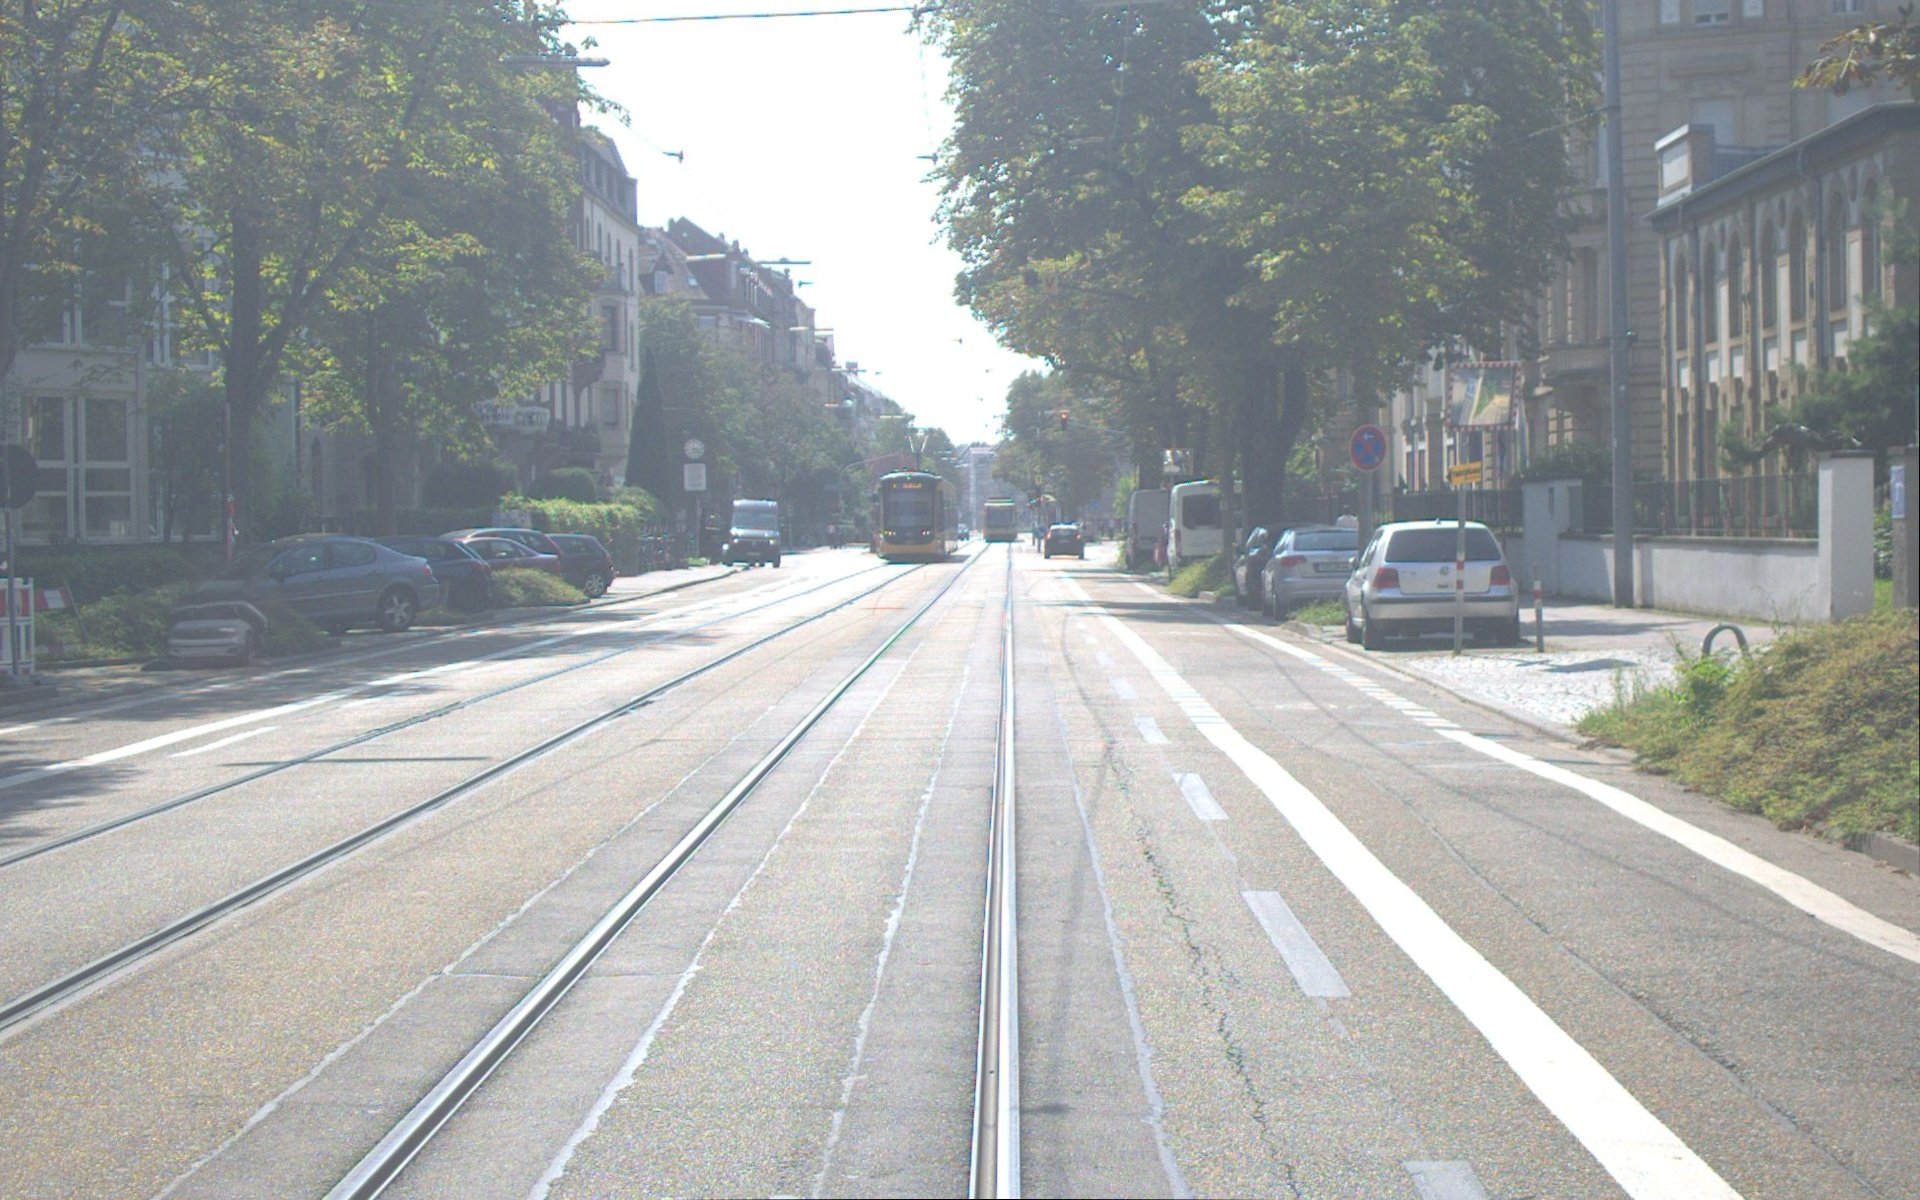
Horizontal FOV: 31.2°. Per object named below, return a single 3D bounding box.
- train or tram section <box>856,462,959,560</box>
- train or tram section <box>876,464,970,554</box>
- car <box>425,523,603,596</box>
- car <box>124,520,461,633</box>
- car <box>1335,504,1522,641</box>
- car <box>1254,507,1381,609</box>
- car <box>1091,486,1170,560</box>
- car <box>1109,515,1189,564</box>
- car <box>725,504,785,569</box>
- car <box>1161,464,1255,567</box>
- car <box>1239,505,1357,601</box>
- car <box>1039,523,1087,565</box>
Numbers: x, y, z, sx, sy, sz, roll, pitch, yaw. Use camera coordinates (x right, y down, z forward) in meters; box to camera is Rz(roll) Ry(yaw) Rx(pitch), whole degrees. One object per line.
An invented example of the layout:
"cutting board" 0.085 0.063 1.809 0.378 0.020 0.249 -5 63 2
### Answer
"train or tram section" -1.968 -3.554 135.719 3.497 3.691 12.412 0 2 2
"train or tram section" -1.515 -3.945 148.093 3.497 3.691 12.412 0 2 2
"car" -9.857 -0.907 76.104 3.576 1.569 1.676 -1 1 -40
"car" -9.690 -0.375 50.194 1.675 1.446 4.677 1 3 44
"car" 5.319 -0.337 39.411 1.791 1.441 3.732 -2 1 3
"car" 5.492 -0.660 53.092 1.641 1.506 3.641 0 1 1
"car" 5.322 -2.417 107.928 1.993 2.226 4.001 -1 1 -4
"car" 5.550 -1.807 101.333 1.993 1.393 4.001 -1 1 -2
"car" -7.785 -2.425 130.902 2.242 2.433 4.001 0 1 -3
"car" 5.800 -1.985 80.721 1.993 2.357 4.000 0 1 1
"car" 5.779 -0.827 59.105 1.794 1.571 4.000 -1 1 3
"car" 4.412 -2.421 147.806 1.993 1.794 4.000 0 1 1
